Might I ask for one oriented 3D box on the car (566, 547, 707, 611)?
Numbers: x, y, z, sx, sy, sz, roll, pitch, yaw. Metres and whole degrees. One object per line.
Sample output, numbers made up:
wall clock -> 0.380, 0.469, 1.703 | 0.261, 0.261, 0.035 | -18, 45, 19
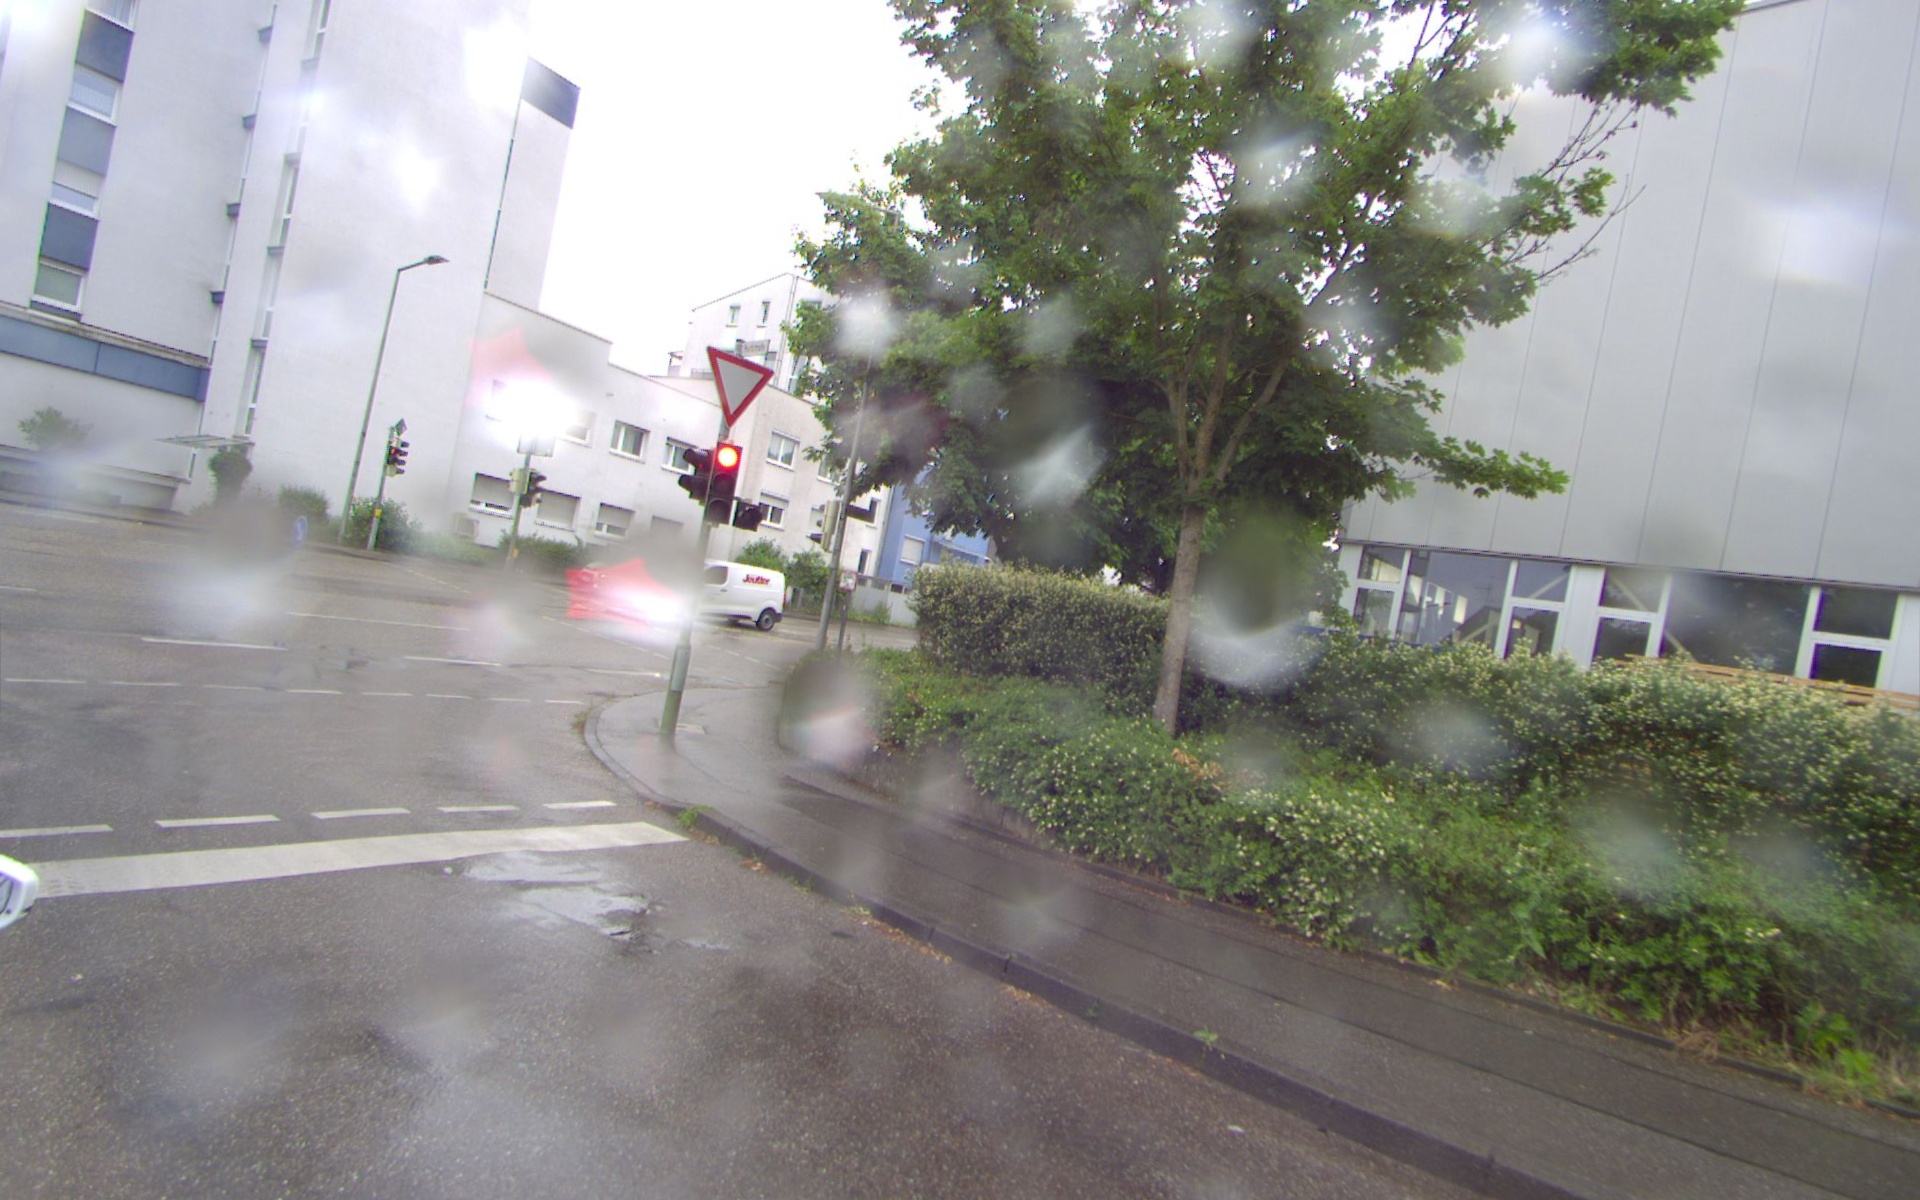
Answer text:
car -> -10.581, -0.656, 33.146 | 1.803, 1.485, 3.989 | 9, 0, 36

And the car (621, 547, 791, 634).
car -> -7.754, -0.238, 31.123 | 1.800, 1.938, 4.816 | 7, -2, 39
